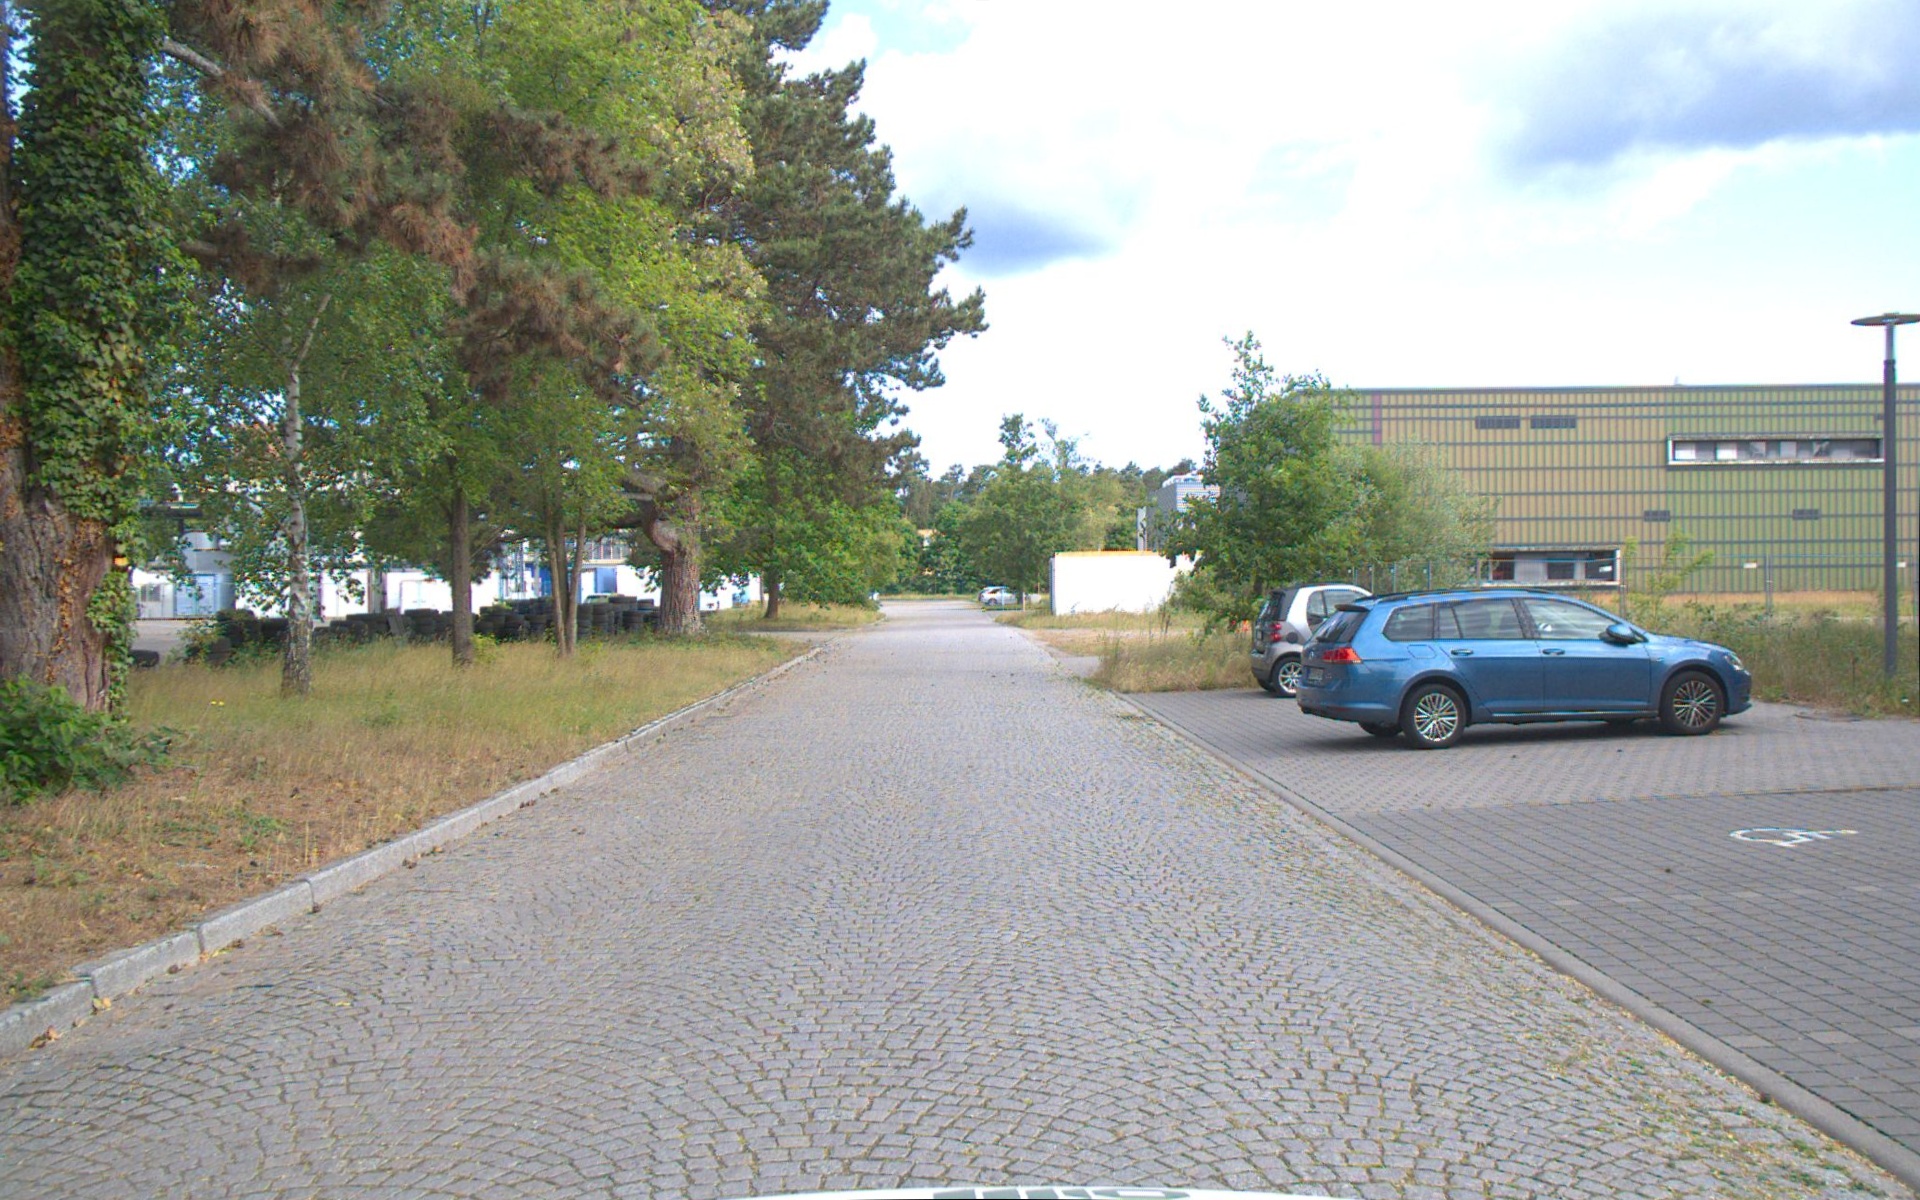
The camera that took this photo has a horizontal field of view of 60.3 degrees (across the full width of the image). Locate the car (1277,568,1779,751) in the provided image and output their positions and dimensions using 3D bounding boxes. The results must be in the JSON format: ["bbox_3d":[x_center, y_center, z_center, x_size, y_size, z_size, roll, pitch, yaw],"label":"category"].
[{"bbox_3d":[5.641,0.554,16.770,4.402,1.501,1.829,-3,1,-4],"label":"car"}]

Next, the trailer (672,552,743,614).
[{"bbox_3d":[-15.703,-1.026,103.389,2.571,3.660,10.179,-1,0,2],"label":"trailer"}]

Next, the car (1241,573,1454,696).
[{"bbox_3d":[5.591,0.475,24.087,2.654,1.583,1.653,-3,0,0],"label":"car"}]

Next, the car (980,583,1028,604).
[{"bbox_3d":[3.637,-0.534,136.595,3.903,1.473,1.653,-3,0,0],"label":"car"}]

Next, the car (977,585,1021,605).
[{"bbox_3d":[3.140,-0.399,133.893,3.451,1.386,1.622,-3,0,0],"label":"car"}]

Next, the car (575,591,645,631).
[{"bbox_3d":[-13.775,0.395,65.348,1.591,1.458,4.066,-1,1,5],"label":"car"}]

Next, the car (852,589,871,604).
[{"bbox_3d":[-9.259,-0.358,155.267,1.614,1.393,3.997,-1,0,-1],"label":"car"}]
